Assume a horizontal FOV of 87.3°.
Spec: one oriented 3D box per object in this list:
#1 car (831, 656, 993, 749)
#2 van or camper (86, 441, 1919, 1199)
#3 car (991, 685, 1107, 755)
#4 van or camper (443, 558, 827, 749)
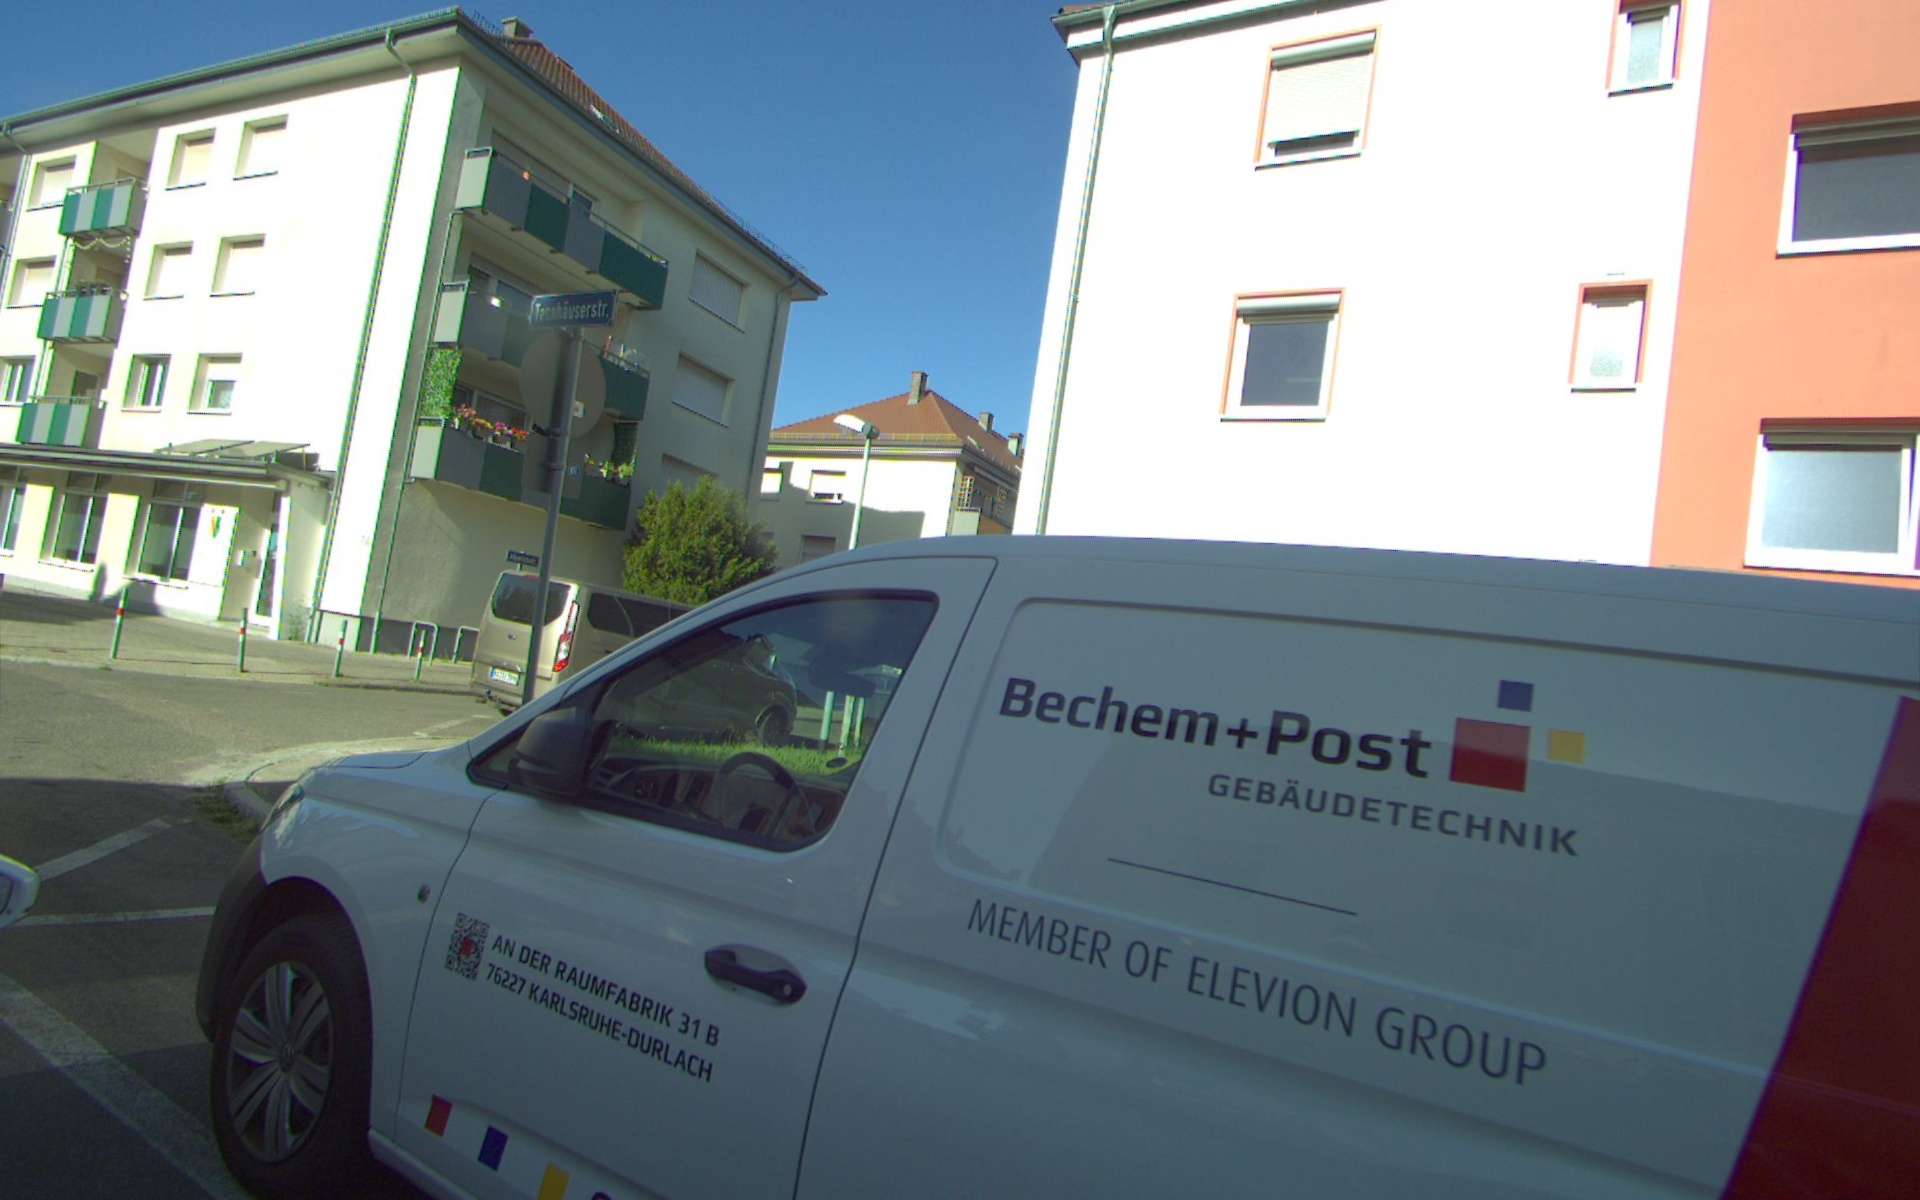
[{"bbox_3d":[-0.919,2.206,21.144,1.652,1.546,3.486,6,-5,30],"label":"car"},{"bbox_3d":[0.130,0.763,2.395,4.655,1.766,1.798,6,-4,31],"label":"van or camper"},{"bbox_3d":[2.458,3.272,27.145,1.652,1.470,3.486,8,-3,30],"label":"car"},{"bbox_3d":[-4.420,0.947,14.730,1.966,2.034,5.143,8,-4,30],"label":"van or camper"}]
